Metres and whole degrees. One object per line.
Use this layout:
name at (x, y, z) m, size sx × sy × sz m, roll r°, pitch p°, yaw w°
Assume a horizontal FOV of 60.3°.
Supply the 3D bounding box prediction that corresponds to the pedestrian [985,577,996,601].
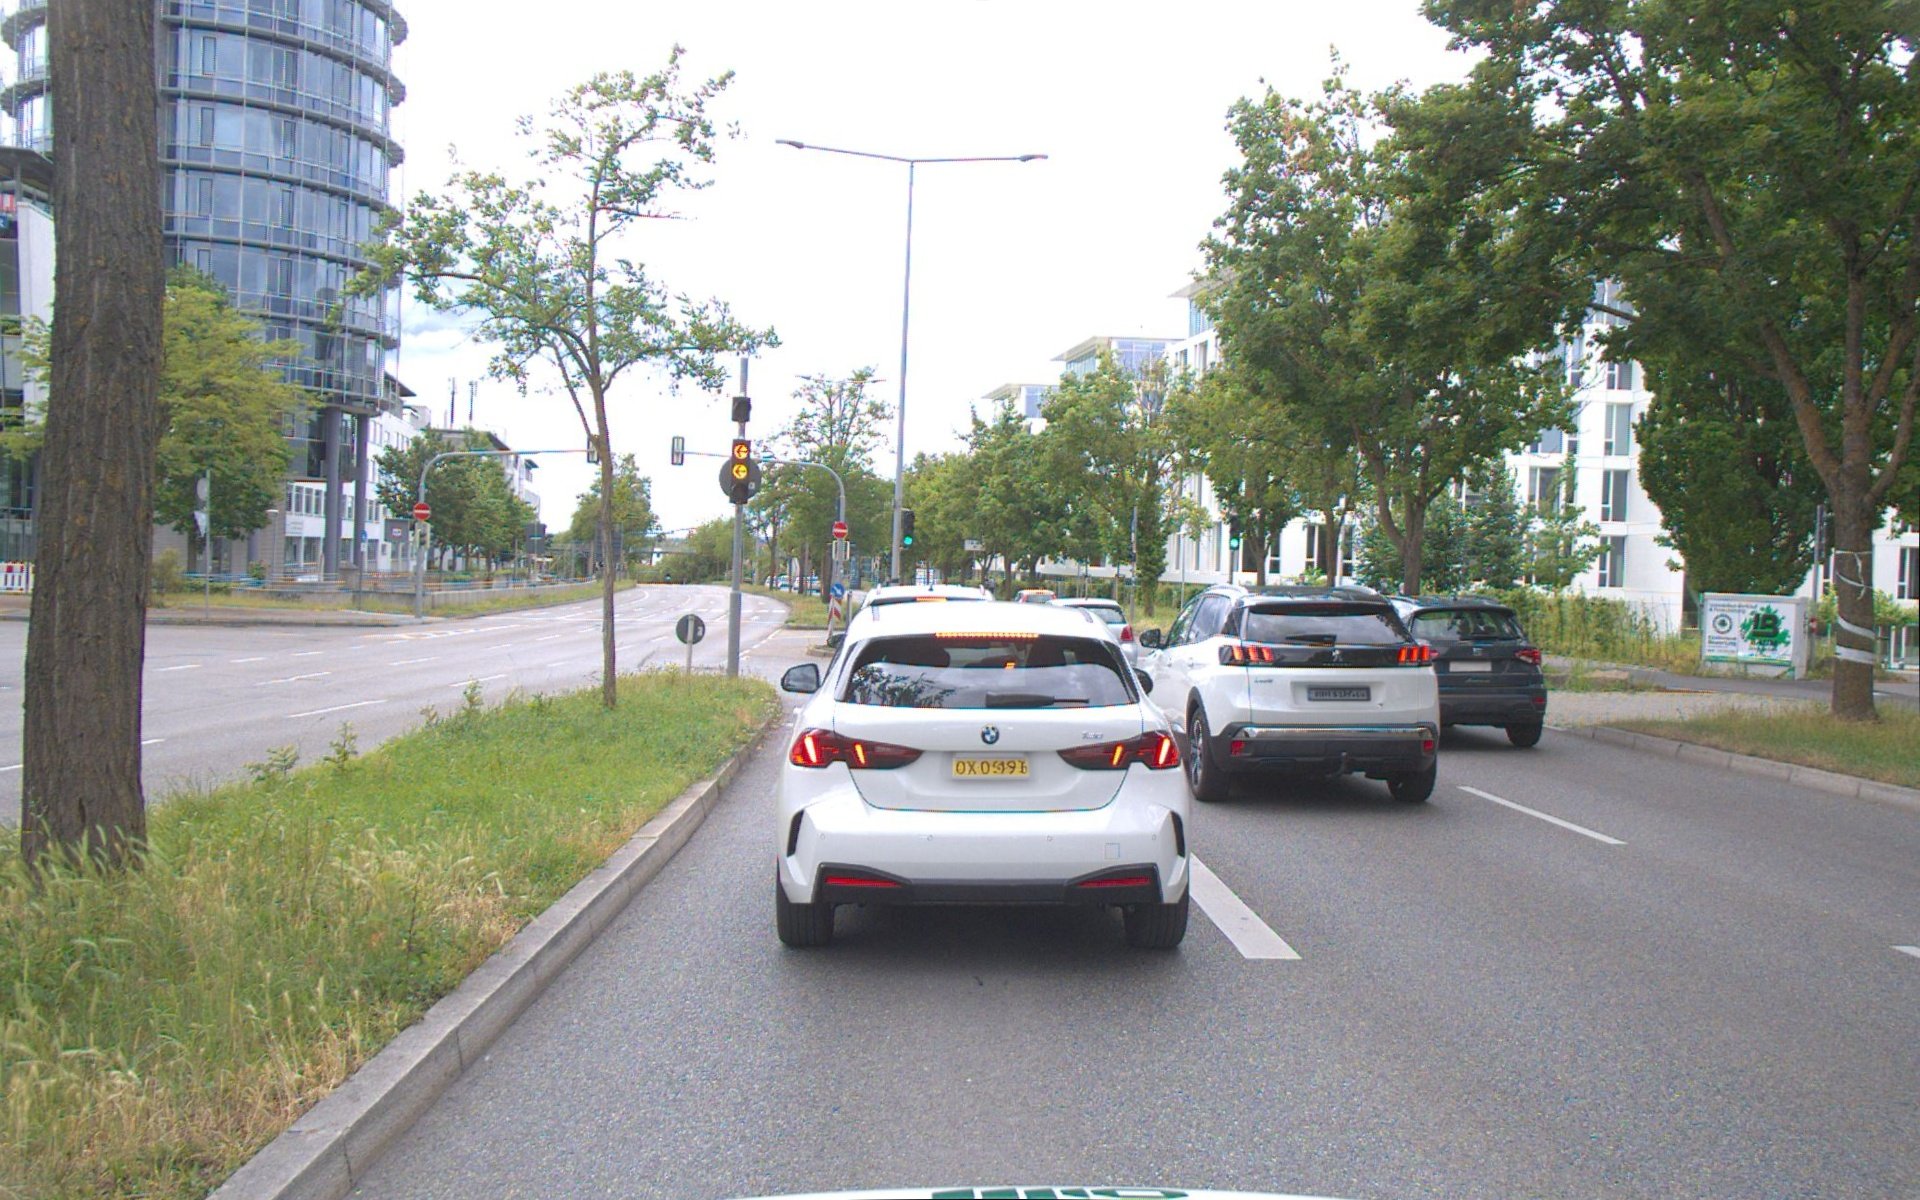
pedestrian at (2.524, -0.908, 137.987) m, size 0.749 × 2.049 × 0.751 m, roll 1°, pitch -1°, yaw -16°

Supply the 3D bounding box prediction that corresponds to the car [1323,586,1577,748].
car at (5.256, 0.644, 18.270) m, size 1.623 × 1.539 × 4.000 m, roll 1°, pitch 1°, yaw 0°

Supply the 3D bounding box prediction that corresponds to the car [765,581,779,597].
car at (-22.667, -1.319, 199.683) m, size 1.663 × 1.747 × 3.994 m, roll 1°, pitch 0°, yaw -7°

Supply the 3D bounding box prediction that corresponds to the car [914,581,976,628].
car at (-0.574, 0.143, 60.114) m, size 1.855 × 1.623 × 4.308 m, roll 1°, pitch 0°, yaw -6°

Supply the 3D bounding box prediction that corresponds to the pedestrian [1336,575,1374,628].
pedestrian at (11.263, 0.046, 47.162) m, size 0.773 × 1.473 × 1.111 m, roll 1°, pitch 0°, yaw -2°

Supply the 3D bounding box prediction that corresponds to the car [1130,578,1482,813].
car at (2.626, 0.655, 13.629) m, size 1.817 × 1.624 × 4.311 m, roll 0°, pitch 0°, yaw -3°

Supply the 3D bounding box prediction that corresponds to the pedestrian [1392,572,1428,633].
pedestrian at (12.835, 0.073, 47.227) m, size 0.751 × 1.715 × 0.883 m, roll 1°, pitch -1°, yaw -2°

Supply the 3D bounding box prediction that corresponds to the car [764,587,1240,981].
car at (0.136, 0.695, 8.323) m, size 1.785 × 1.463 × 3.999 m, roll 1°, pitch 0°, yaw -1°

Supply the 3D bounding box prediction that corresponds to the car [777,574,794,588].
car at (-23.636, -2.567, 224.173) m, size 1.957 × 1.763 × 3.991 m, roll 1°, pitch 0°, yaw -10°

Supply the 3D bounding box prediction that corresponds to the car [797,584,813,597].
car at (-18.754, -1.147, 200.092) m, size 1.661 × 1.512 × 3.687 m, roll 1°, pitch 0°, yaw -8°

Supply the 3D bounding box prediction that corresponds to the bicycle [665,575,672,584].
bicycle at (-39.529, -2.762, 223.995) m, size 0.796 × 1.123 × 2.548 m, roll 1°, pitch 0°, yaw -13°

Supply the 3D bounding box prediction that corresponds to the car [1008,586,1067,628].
car at (2.765, 0.229, 59.796) m, size 1.621 × 1.450 × 3.531 m, roll 0°, pitch 0°, yaw -6°

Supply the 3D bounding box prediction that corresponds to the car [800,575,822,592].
car at (-15.807, -1.751, 175.497) m, size 1.958 × 1.699 × 3.989 m, roll 0°, pitch 0°, yaw -11°

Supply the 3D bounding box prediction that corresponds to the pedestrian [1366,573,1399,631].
pedestrian at (12.043, 0.059, 47.181) m, size 0.685 × 1.623 × 0.883 m, roll 1°, pitch -1°, yaw -2°

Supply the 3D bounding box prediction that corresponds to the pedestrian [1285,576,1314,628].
pedestrian at (10.544, 0.061, 51.327) m, size 0.726 × 1.601 × 0.674 m, roll 1°, pitch -1°, yaw -2°

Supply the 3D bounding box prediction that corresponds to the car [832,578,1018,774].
car at (-0.318, 0.628, 15.835) m, size 1.518 × 1.596 × 3.999 m, roll 1°, pitch 0°, yaw -1°

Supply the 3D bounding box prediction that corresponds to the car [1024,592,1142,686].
car at (2.088, 0.638, 28.912) m, size 1.573 × 1.494 × 3.673 m, roll 1°, pitch 0°, yaw -3°

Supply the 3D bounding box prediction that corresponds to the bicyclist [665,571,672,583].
bicyclist at (-39.540, -3.133, 224.083) m, size 0.796 × 1.681 × 1.184 m, roll 1°, pitch 0°, yaw -14°
